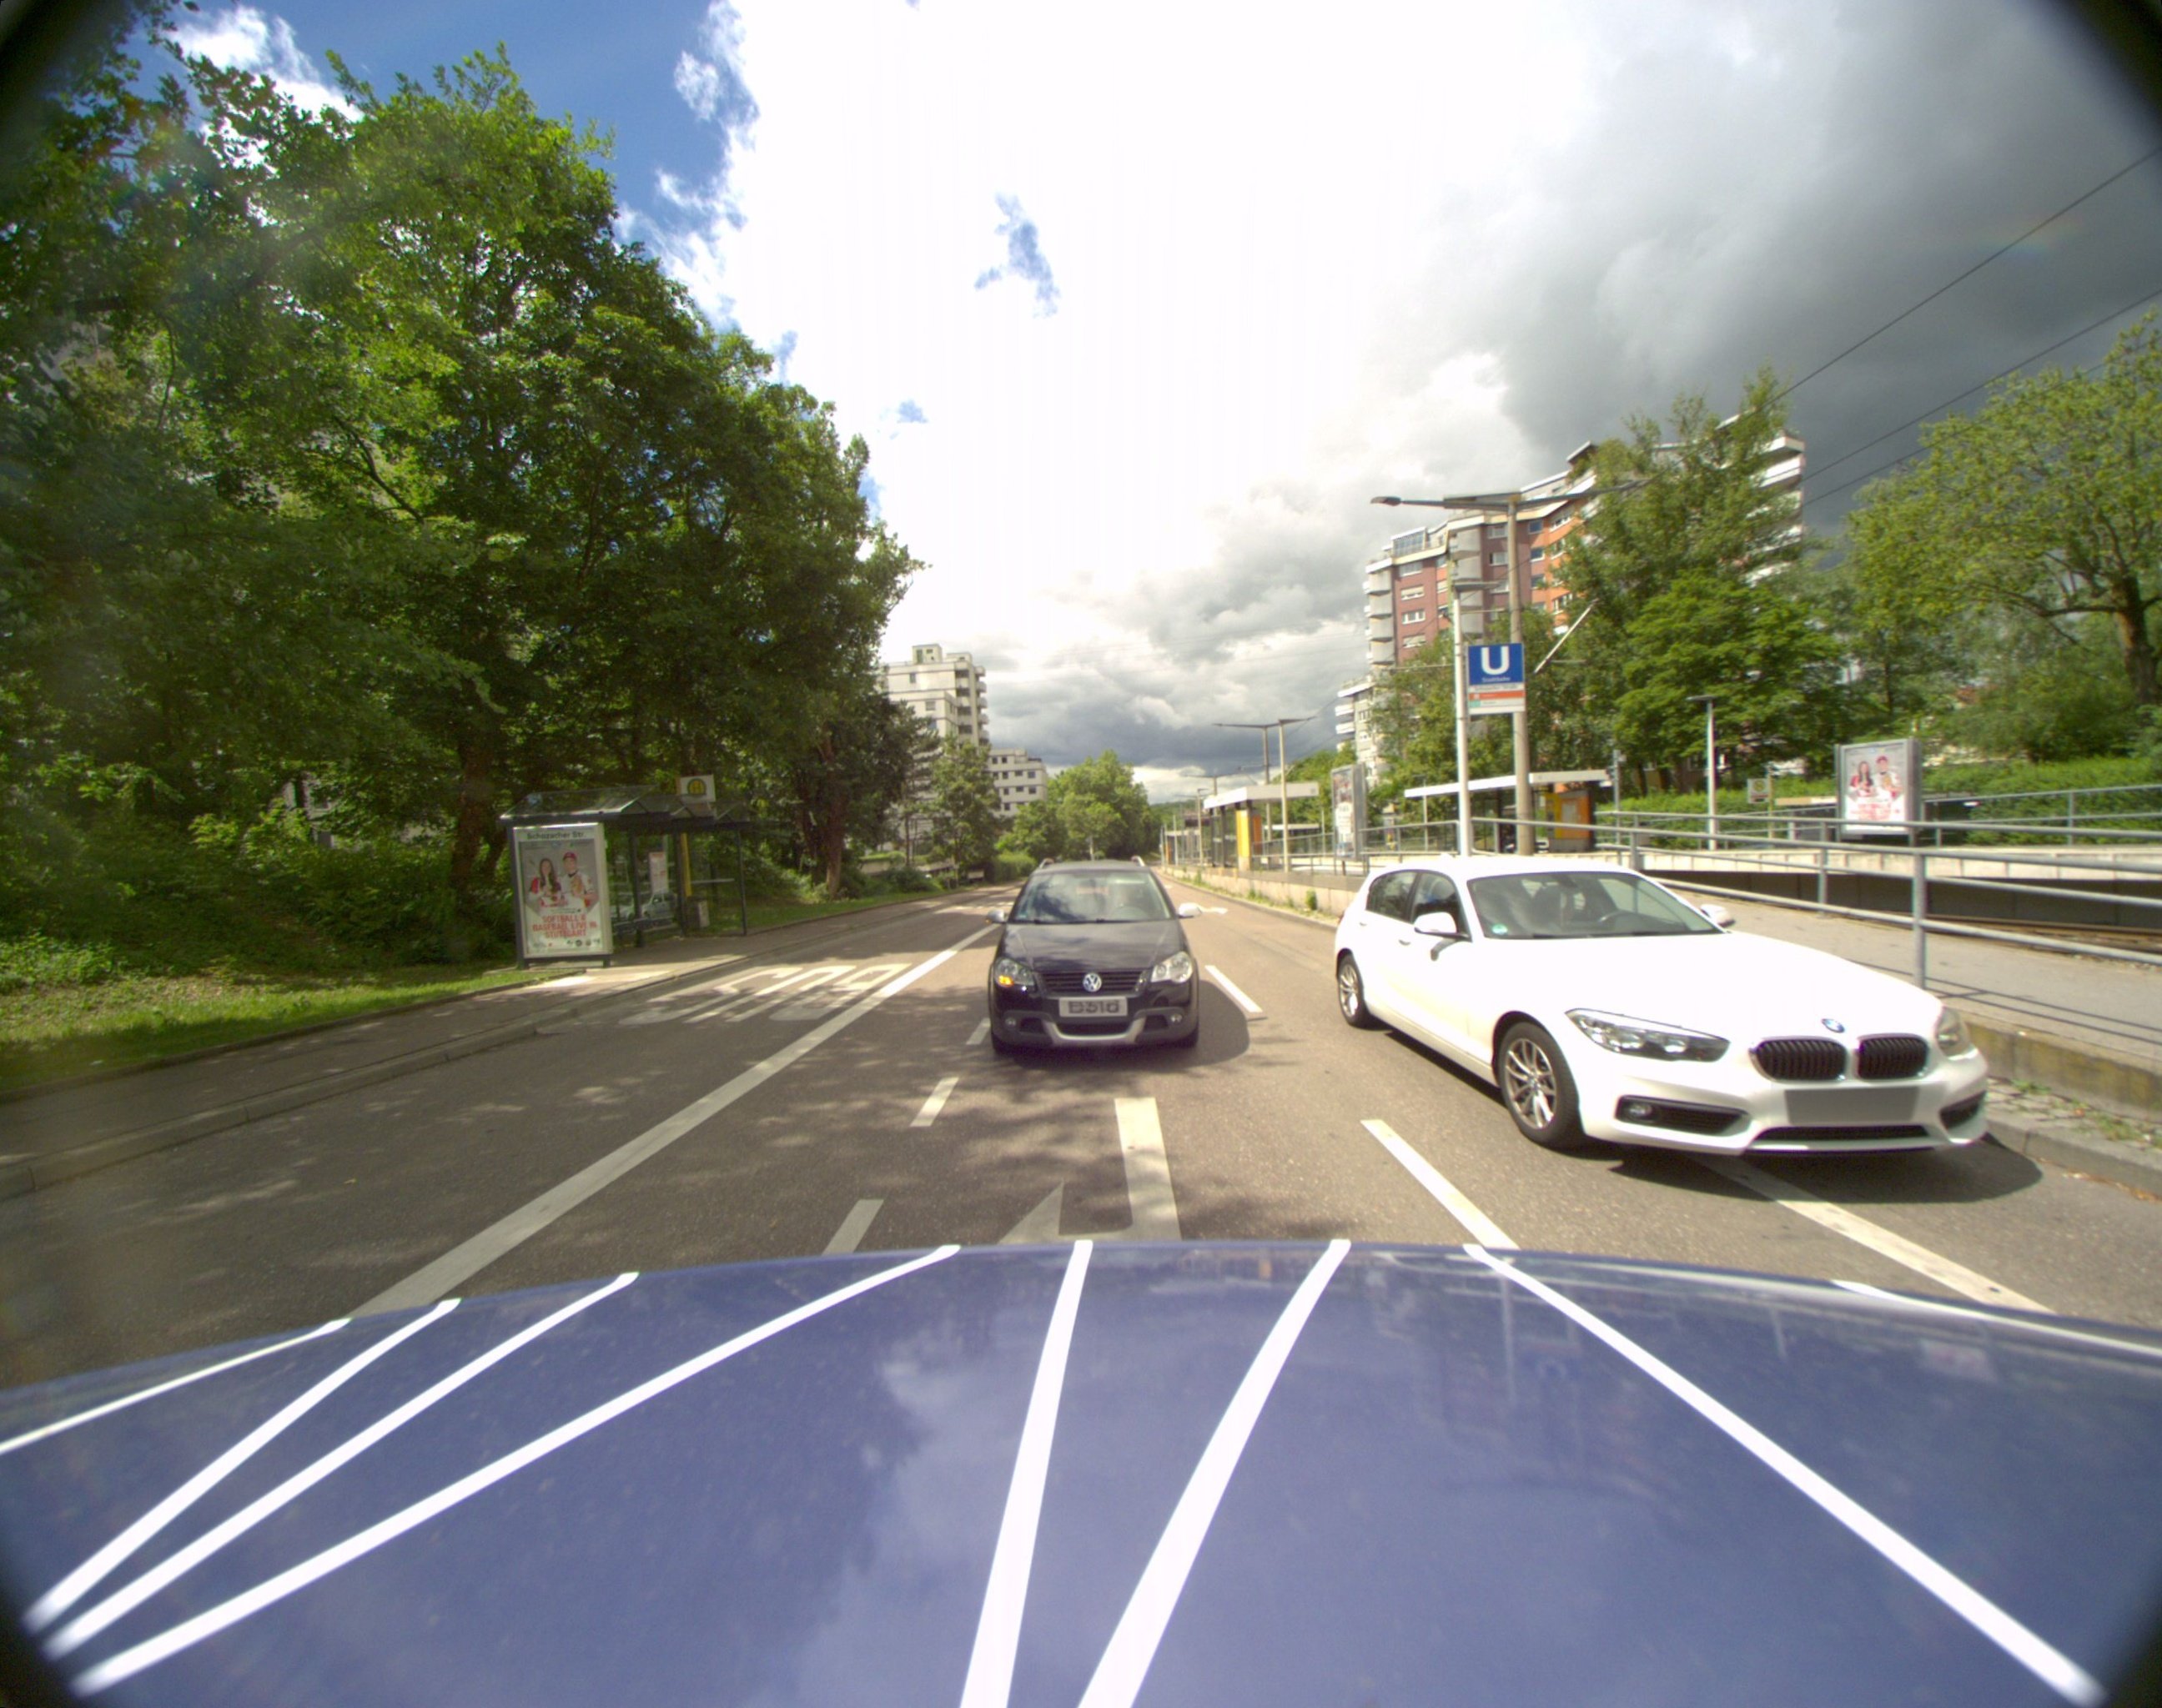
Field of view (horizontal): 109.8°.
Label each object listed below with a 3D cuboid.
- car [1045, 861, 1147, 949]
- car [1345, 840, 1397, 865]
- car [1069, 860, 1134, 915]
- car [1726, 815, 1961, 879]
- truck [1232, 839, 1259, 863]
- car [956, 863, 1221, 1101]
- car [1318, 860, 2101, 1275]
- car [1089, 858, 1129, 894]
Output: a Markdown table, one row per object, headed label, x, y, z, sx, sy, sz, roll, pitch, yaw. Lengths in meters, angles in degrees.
| label | x | y | z | sx | sy | sz | roll | pitch | yaw |
| --- | --- | --- | --- | --- | --- | --- | --- | --- | --- |
| car | 0.288 | 0.912 | 15.357 | 1.732 | 1.453 | 4.000 | -2 | 0 | 1 |
| car | 19.897 | -0.112 | 52.305 | 1.998 | 1.625 | 4.460 | -1 | 0 | 2 |
| car | 0.680 | 0.946 | 23.064 | 1.732 | 1.452 | 4.001 | -2 | 0 | 3 |
| car | 19.443 | -0.207 | 19.726 | 1.639 | 1.391 | 4.493 | -3 | 1 | 1 |
| truck | 23.451 | -0.444 | 108.682 | 2.420 | 3.203 | 7.263 | -2 | 0 | 1 |
| car | 0.078 | 0.892 | 7.133 | 1.732 | 1.501 | 4.000 | -2 | 0 | 1 |
| car | 3.013 | 0.831 | 4.884 | 1.732 | 1.453 | 4.000 | -2 | 1 | 1 |
| car | 1.281 | 0.999 | 35.991 | 1.732 | 1.505 | 4.000 | -2 | 1 | 1 |
